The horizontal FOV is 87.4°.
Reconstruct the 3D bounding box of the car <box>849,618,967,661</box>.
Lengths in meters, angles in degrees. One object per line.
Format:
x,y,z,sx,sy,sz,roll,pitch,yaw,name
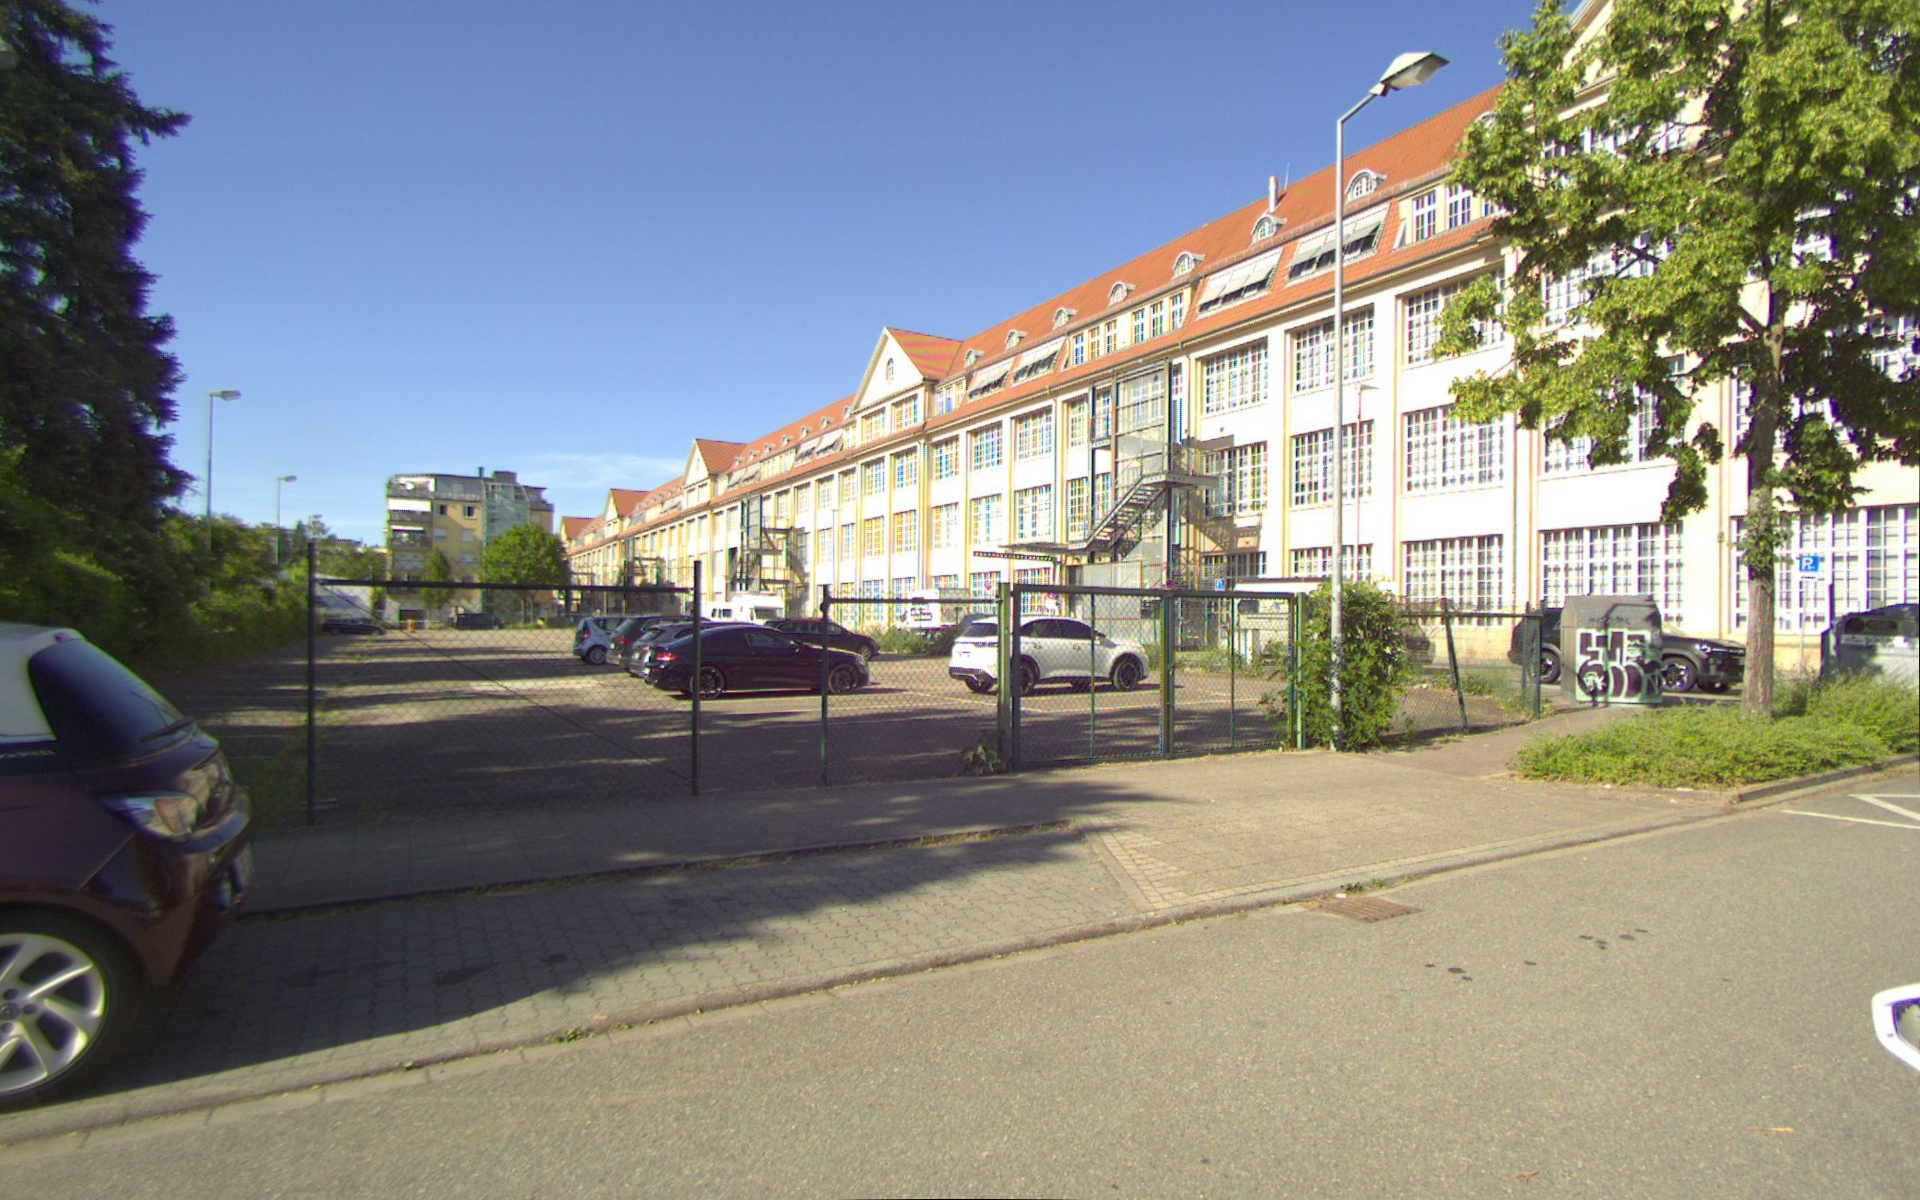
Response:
-1.978,1.502,38.789,4.193,1.580,1.882,1,-2,-31,car

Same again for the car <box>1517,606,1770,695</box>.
14.537,1.020,21.601,1.975,1.718,4.073,2,-1,-28,car

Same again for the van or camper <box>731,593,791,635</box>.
-14.520,1.008,72.959,2.693,2.895,5.091,2,-1,-31,van or camper

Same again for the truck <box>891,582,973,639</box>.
-1.926,0.698,65.667,2.469,3.476,7.077,2,-1,-27,truck

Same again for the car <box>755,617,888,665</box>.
-4.783,1.397,34.816,4.189,1.580,1.884,1,-1,-28,car

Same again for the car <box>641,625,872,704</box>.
-4.191,1.268,20.770,4.319,1.475,1.959,1,-1,-28,car

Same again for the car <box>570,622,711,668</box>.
-10.828,1.486,34.078,4.319,1.467,1.959,1,-1,-28,car

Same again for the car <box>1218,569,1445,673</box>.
10.436,0.616,28.876,2.139,2.631,6.235,1,-2,-29,car

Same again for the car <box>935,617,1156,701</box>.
1.847,1.203,21.587,4.370,1.631,1.986,1,-1,-28,car

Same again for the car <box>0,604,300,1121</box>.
-4.210,0.767,3.138,3.507,1.493,1.708,2,1,-32,car

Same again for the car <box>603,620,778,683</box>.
-7.366,1.357,27.473,4.319,1.580,1.959,1,-1,-28,car

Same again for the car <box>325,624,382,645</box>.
-50.018,2.873,82.937,3.953,1.639,1.984,2,-1,-30,car

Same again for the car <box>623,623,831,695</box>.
-5.347,1.301,23.119,4.319,1.515,1.959,1,-1,-28,car
